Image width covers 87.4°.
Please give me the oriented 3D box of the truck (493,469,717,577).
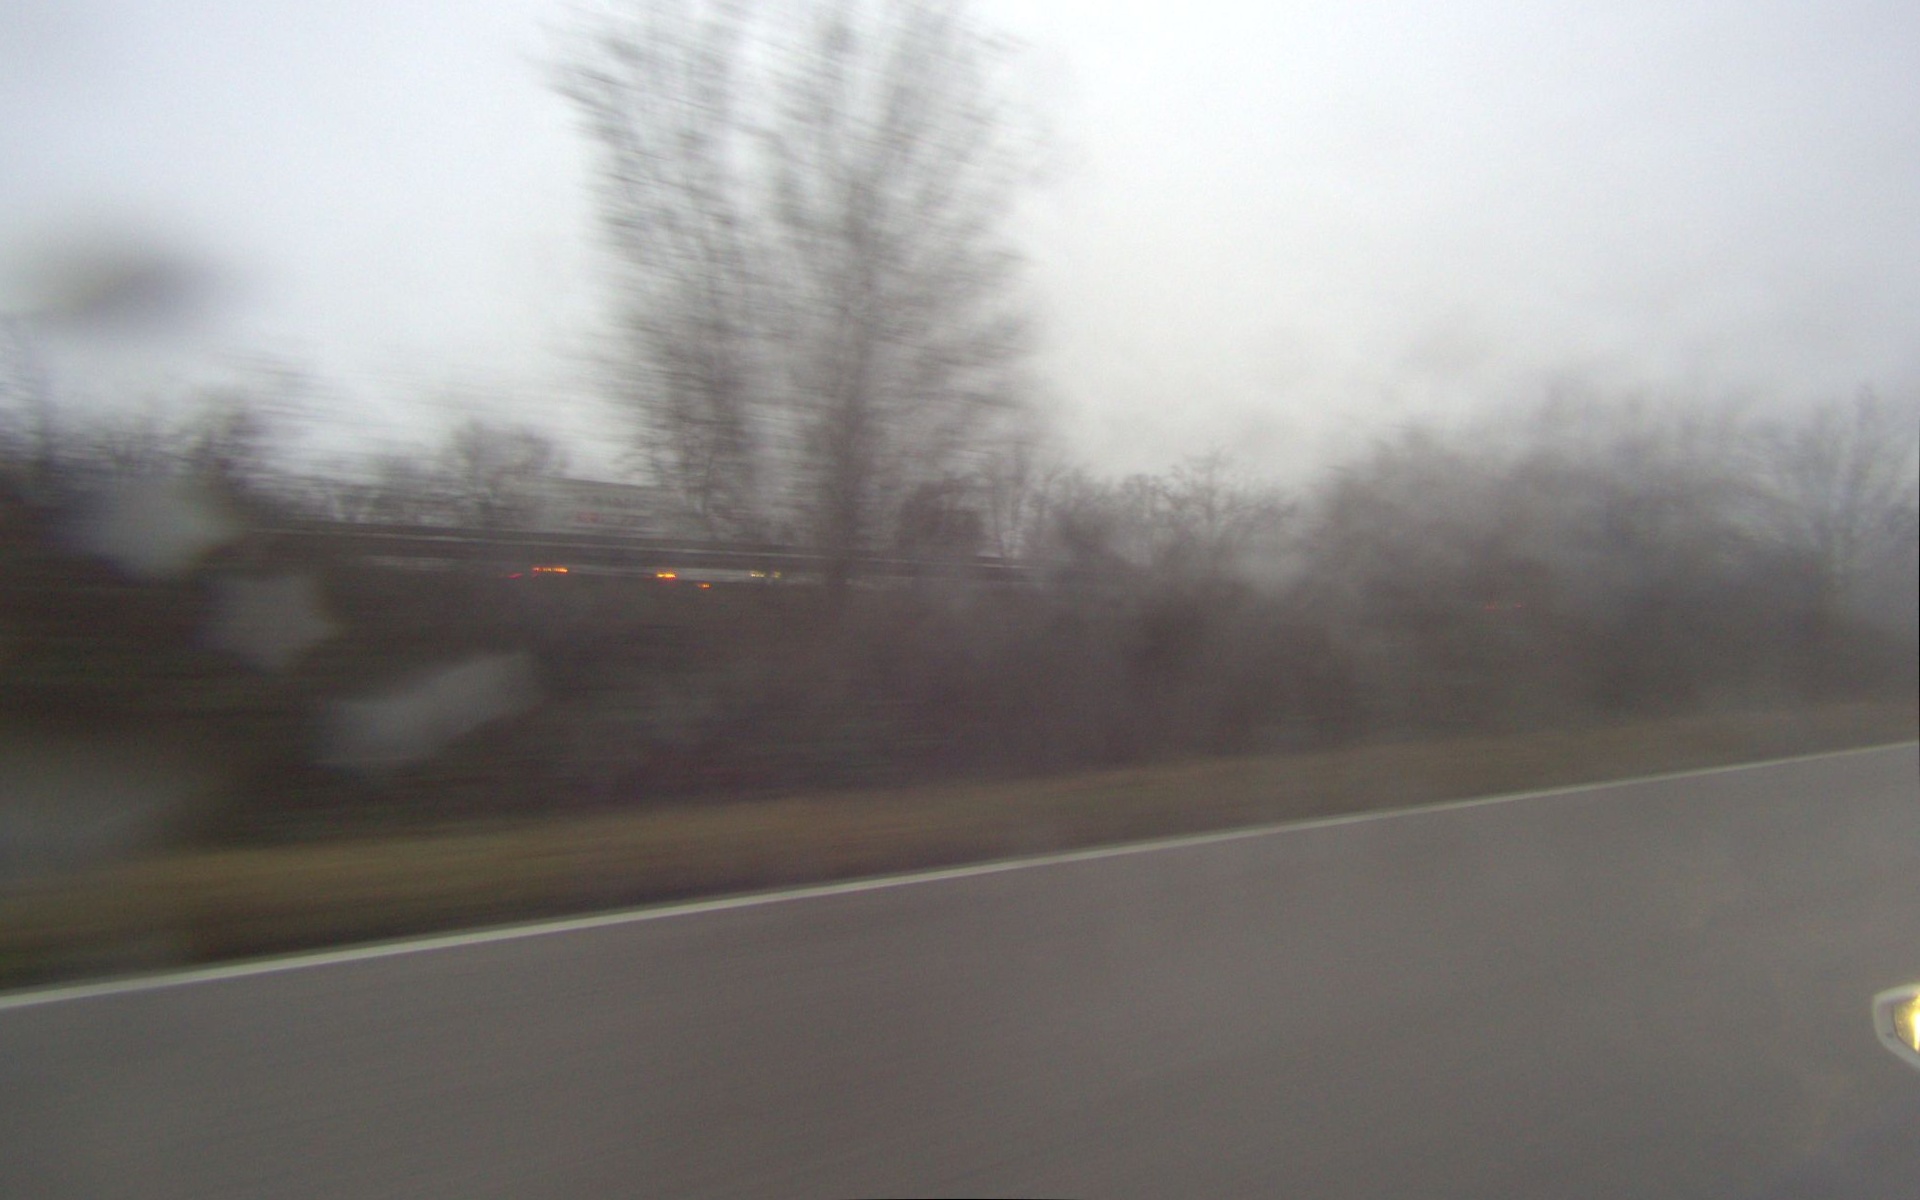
[{"bbox_3d":[-9.859,-2.030,28.108,5.594,2.526,1.983,2,0,-31],"label":"truck"}]
